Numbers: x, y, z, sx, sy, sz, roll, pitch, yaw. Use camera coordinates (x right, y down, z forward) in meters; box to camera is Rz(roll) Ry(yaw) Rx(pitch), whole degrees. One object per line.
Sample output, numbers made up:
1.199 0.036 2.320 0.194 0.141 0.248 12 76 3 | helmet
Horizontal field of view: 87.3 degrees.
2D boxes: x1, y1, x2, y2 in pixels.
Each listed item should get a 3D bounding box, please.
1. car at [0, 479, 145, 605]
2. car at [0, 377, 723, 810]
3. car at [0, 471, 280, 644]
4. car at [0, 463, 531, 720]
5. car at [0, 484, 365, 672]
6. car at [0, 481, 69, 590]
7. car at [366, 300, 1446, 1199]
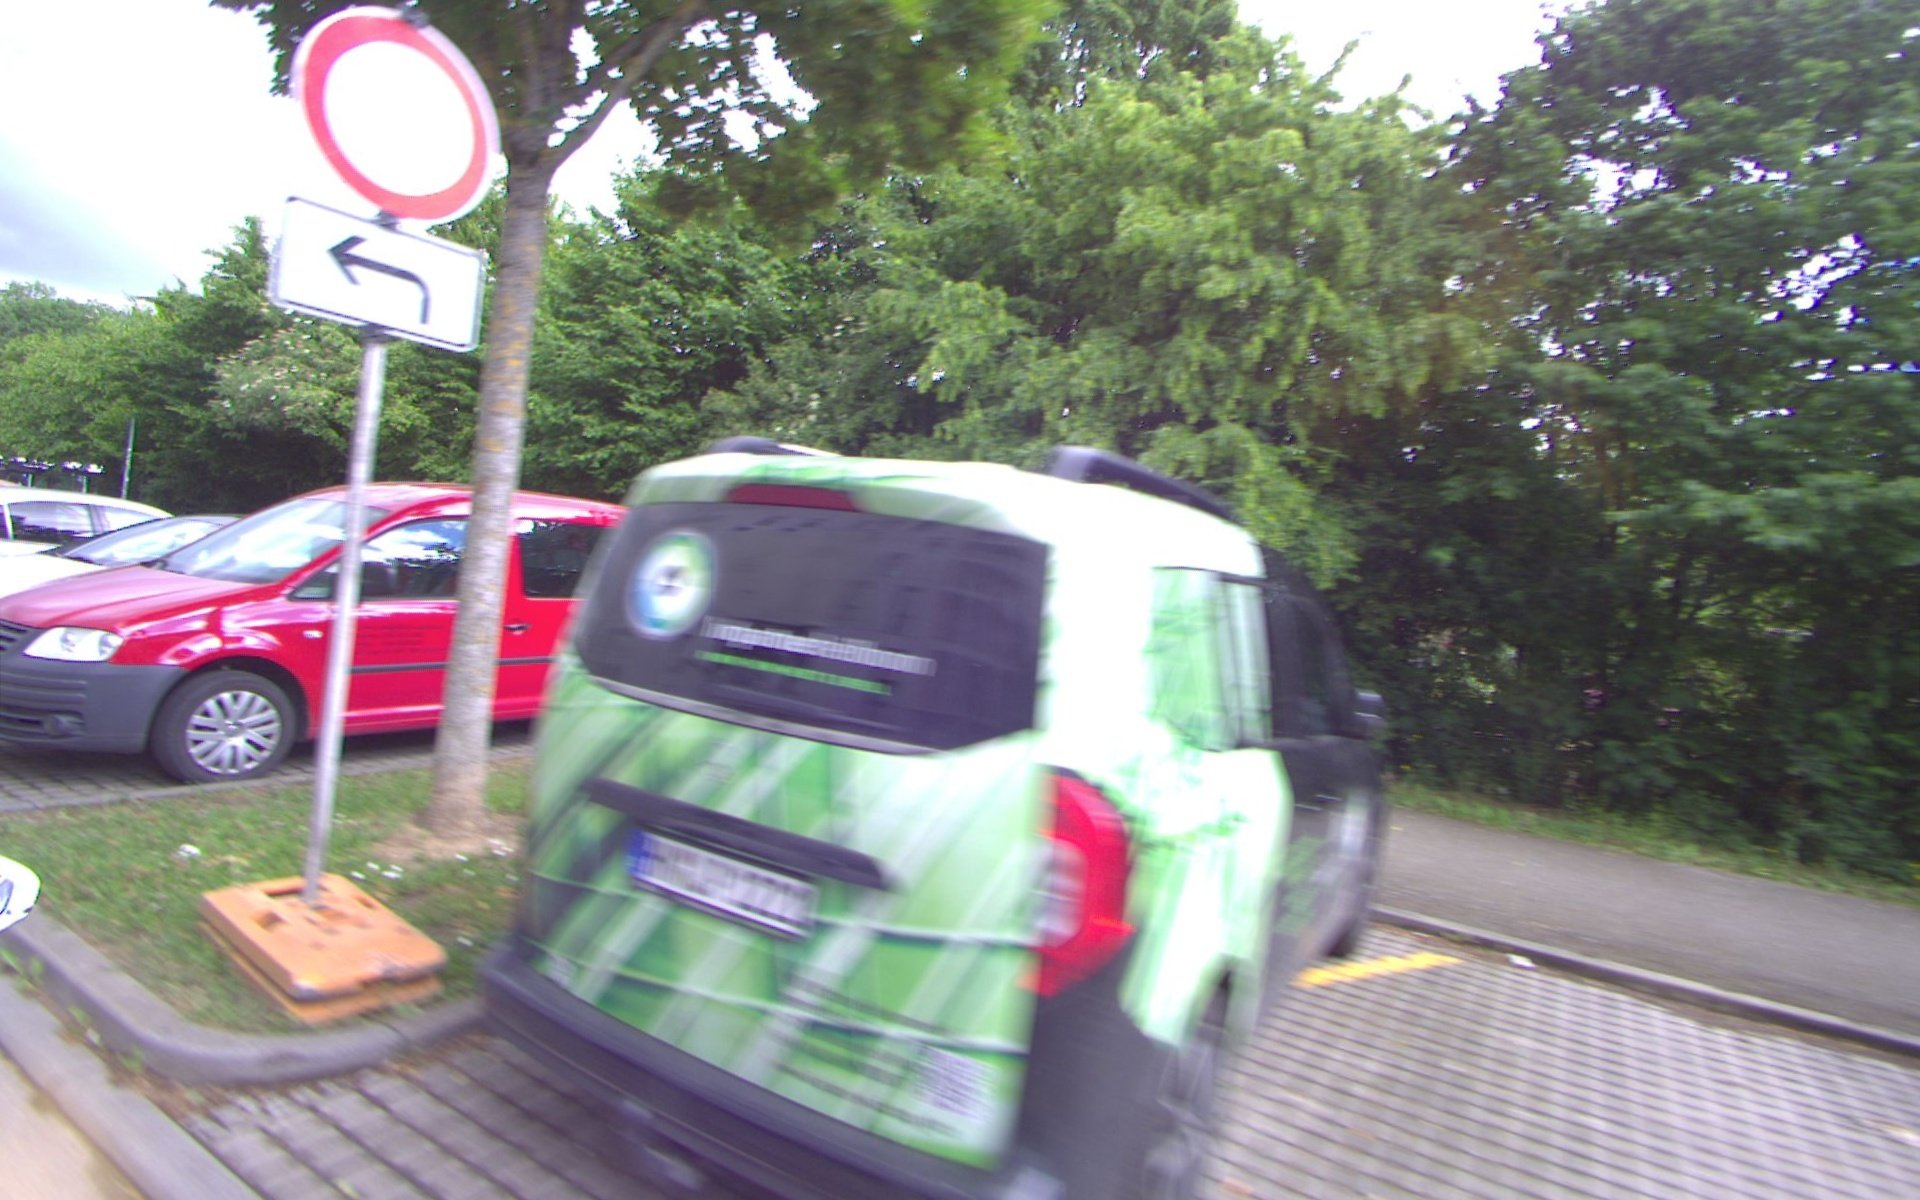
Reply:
-14.255 -0.995 13.736 1.884 1.601 4.387 7 -1 30 | car
-3.948 0.057 6.822 1.904 1.927 4.387 7 -1 30 | car
-10.352 -0.546 10.962 1.884 1.637 4.387 7 -1 30 | car
-6.007 -0.005 8.036 1.884 1.592 4.387 6 -1 30 | car
-8.375 -0.247 9.402 1.884 1.492 4.387 7 -1 30 | car
-16.357 -1.245 14.816 1.884 1.601 4.387 7 -1 30 | car
0.537 0.520 3.844 1.884 1.929 4.382 7 2 30 | car
